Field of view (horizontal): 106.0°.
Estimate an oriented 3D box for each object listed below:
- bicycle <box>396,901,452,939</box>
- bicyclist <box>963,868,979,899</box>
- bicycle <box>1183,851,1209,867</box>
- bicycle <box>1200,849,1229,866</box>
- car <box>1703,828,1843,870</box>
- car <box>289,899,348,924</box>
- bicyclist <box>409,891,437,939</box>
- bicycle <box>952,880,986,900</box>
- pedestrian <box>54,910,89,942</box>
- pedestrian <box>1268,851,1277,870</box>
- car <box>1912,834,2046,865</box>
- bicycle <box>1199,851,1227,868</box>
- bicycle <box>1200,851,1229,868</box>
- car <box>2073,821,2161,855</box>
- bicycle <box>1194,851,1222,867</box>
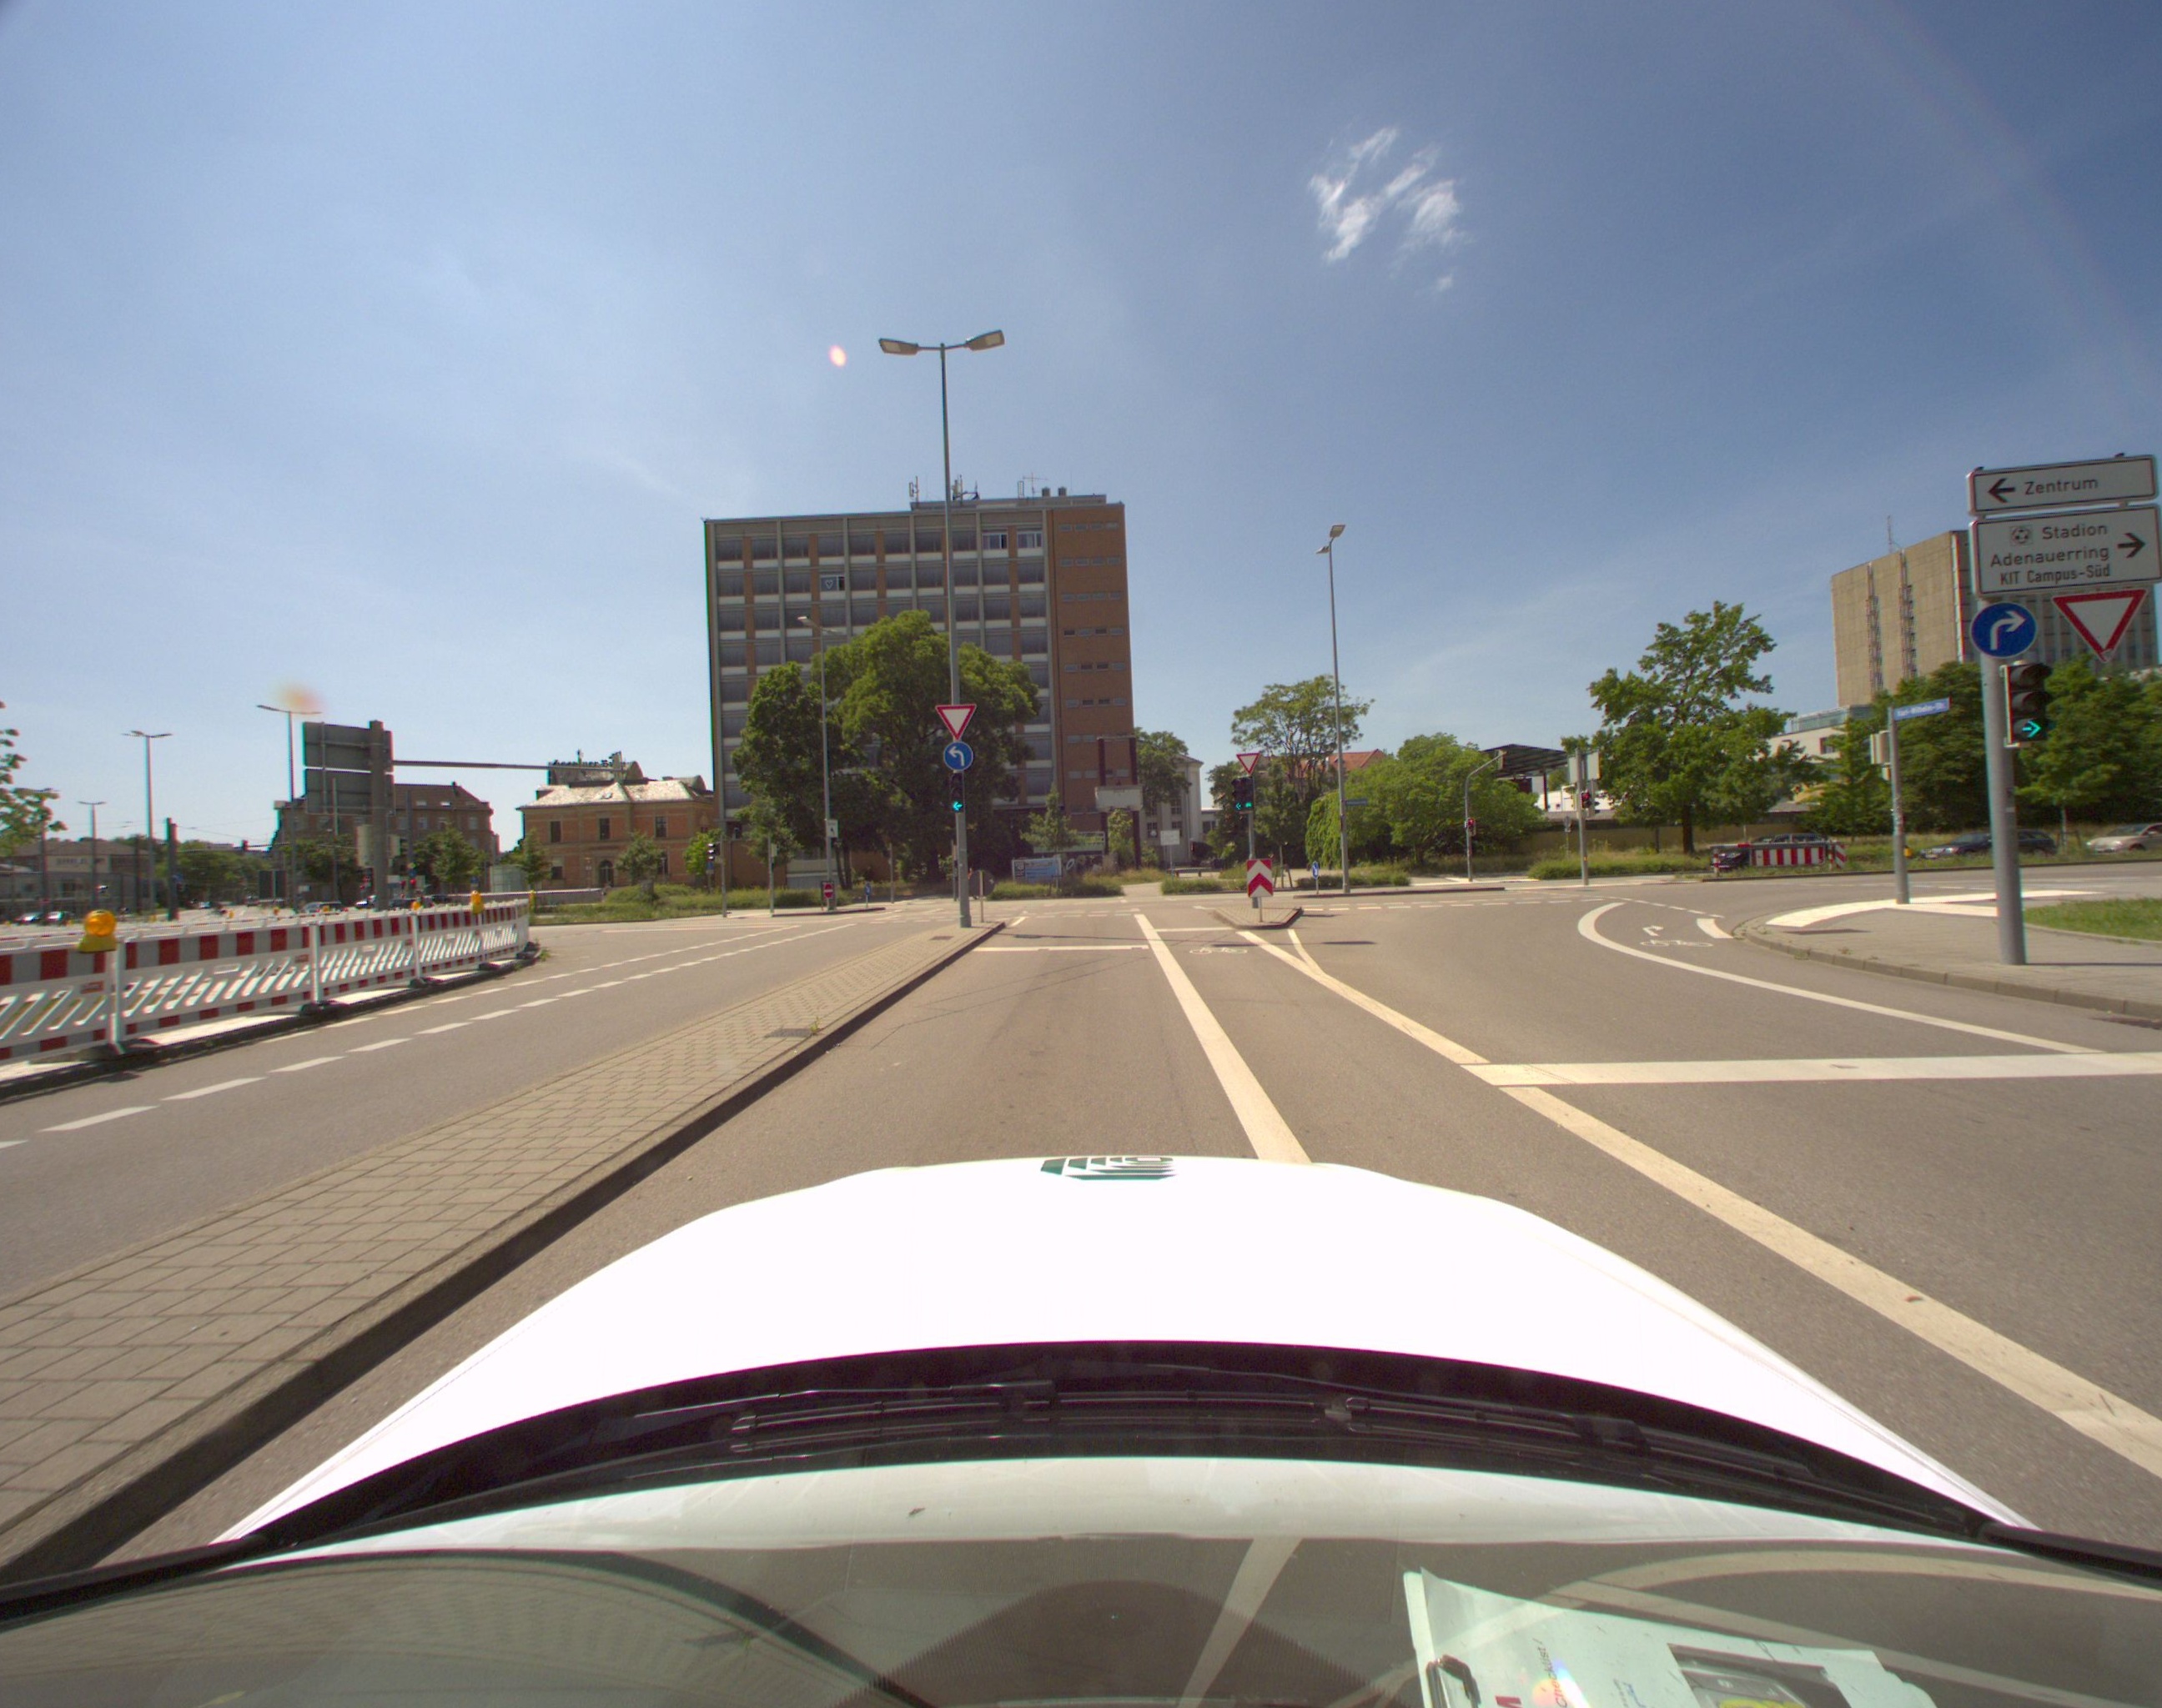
[{"bbox_3d":[-22.341,2.255,27.688,1.877,1.180,0.527,-4,-2,18],"label":"bicycle"},{"bbox_3d":[-6.316,1.702,46.757,0.544,1.715,0.707,-1,0,42],"label":"bicyclist"},{"bbox_3d":[15.183,0.646,107.519,3.432,2.014,0.761,-1,-1,3],"label":"bicycle"},{"bbox_3d":[16.020,0.408,97.683,3.432,2.014,0.761,-1,-1,3],"label":"bicycle"},{"bbox_3d":[30.893,-0.195,36.481,4.516,1.586,1.712,-3,-1,7],"label":"car"},{"bbox_3d":[-53.718,4.063,57.375,4.528,1.557,1.733,-3,-1,29],"label":"car"},{"bbox_3d":[-22.367,2.058,27.686,0.493,1.580,0.533,-4,-2,19],"label":"bicyclist"},{"bbox_3d":[-6.409,2.056,46.647,0.551,1.045,2.009,-2,1,43],"label":"bicycle"},{"bbox_3d":[-65.147,4.616,52.571,0.891,1.933,1.189,-1,-1,24],"label":"pedestrian"},{"bbox_3d":[17.017,0.616,72.391,0.637,1.665,0.707,-1,-1,0],"label":"pedestrian"},{"bbox_3d":[39.523,-0.178,35.912,3.973,1.310,1.760,-1,-1,0],"label":"car"},{"bbox_3d":[16.301,0.704,100.716,3.432,2.014,0.761,-1,-1,3],"label":"bicycle"},{"bbox_3d":[16.146,0.672,98.681,3.432,2.014,0.761,-1,-1,3],"label":"bicycle"},{"bbox_3d":[46.257,-0.682,35.458,3.973,1.439,1.760,-1,-1,0],"label":"car"},{"bbox_3d":[15.986,0.597,102.888,3.432,2.014,0.761,-1,-1,3],"label":"bicycle"}]
